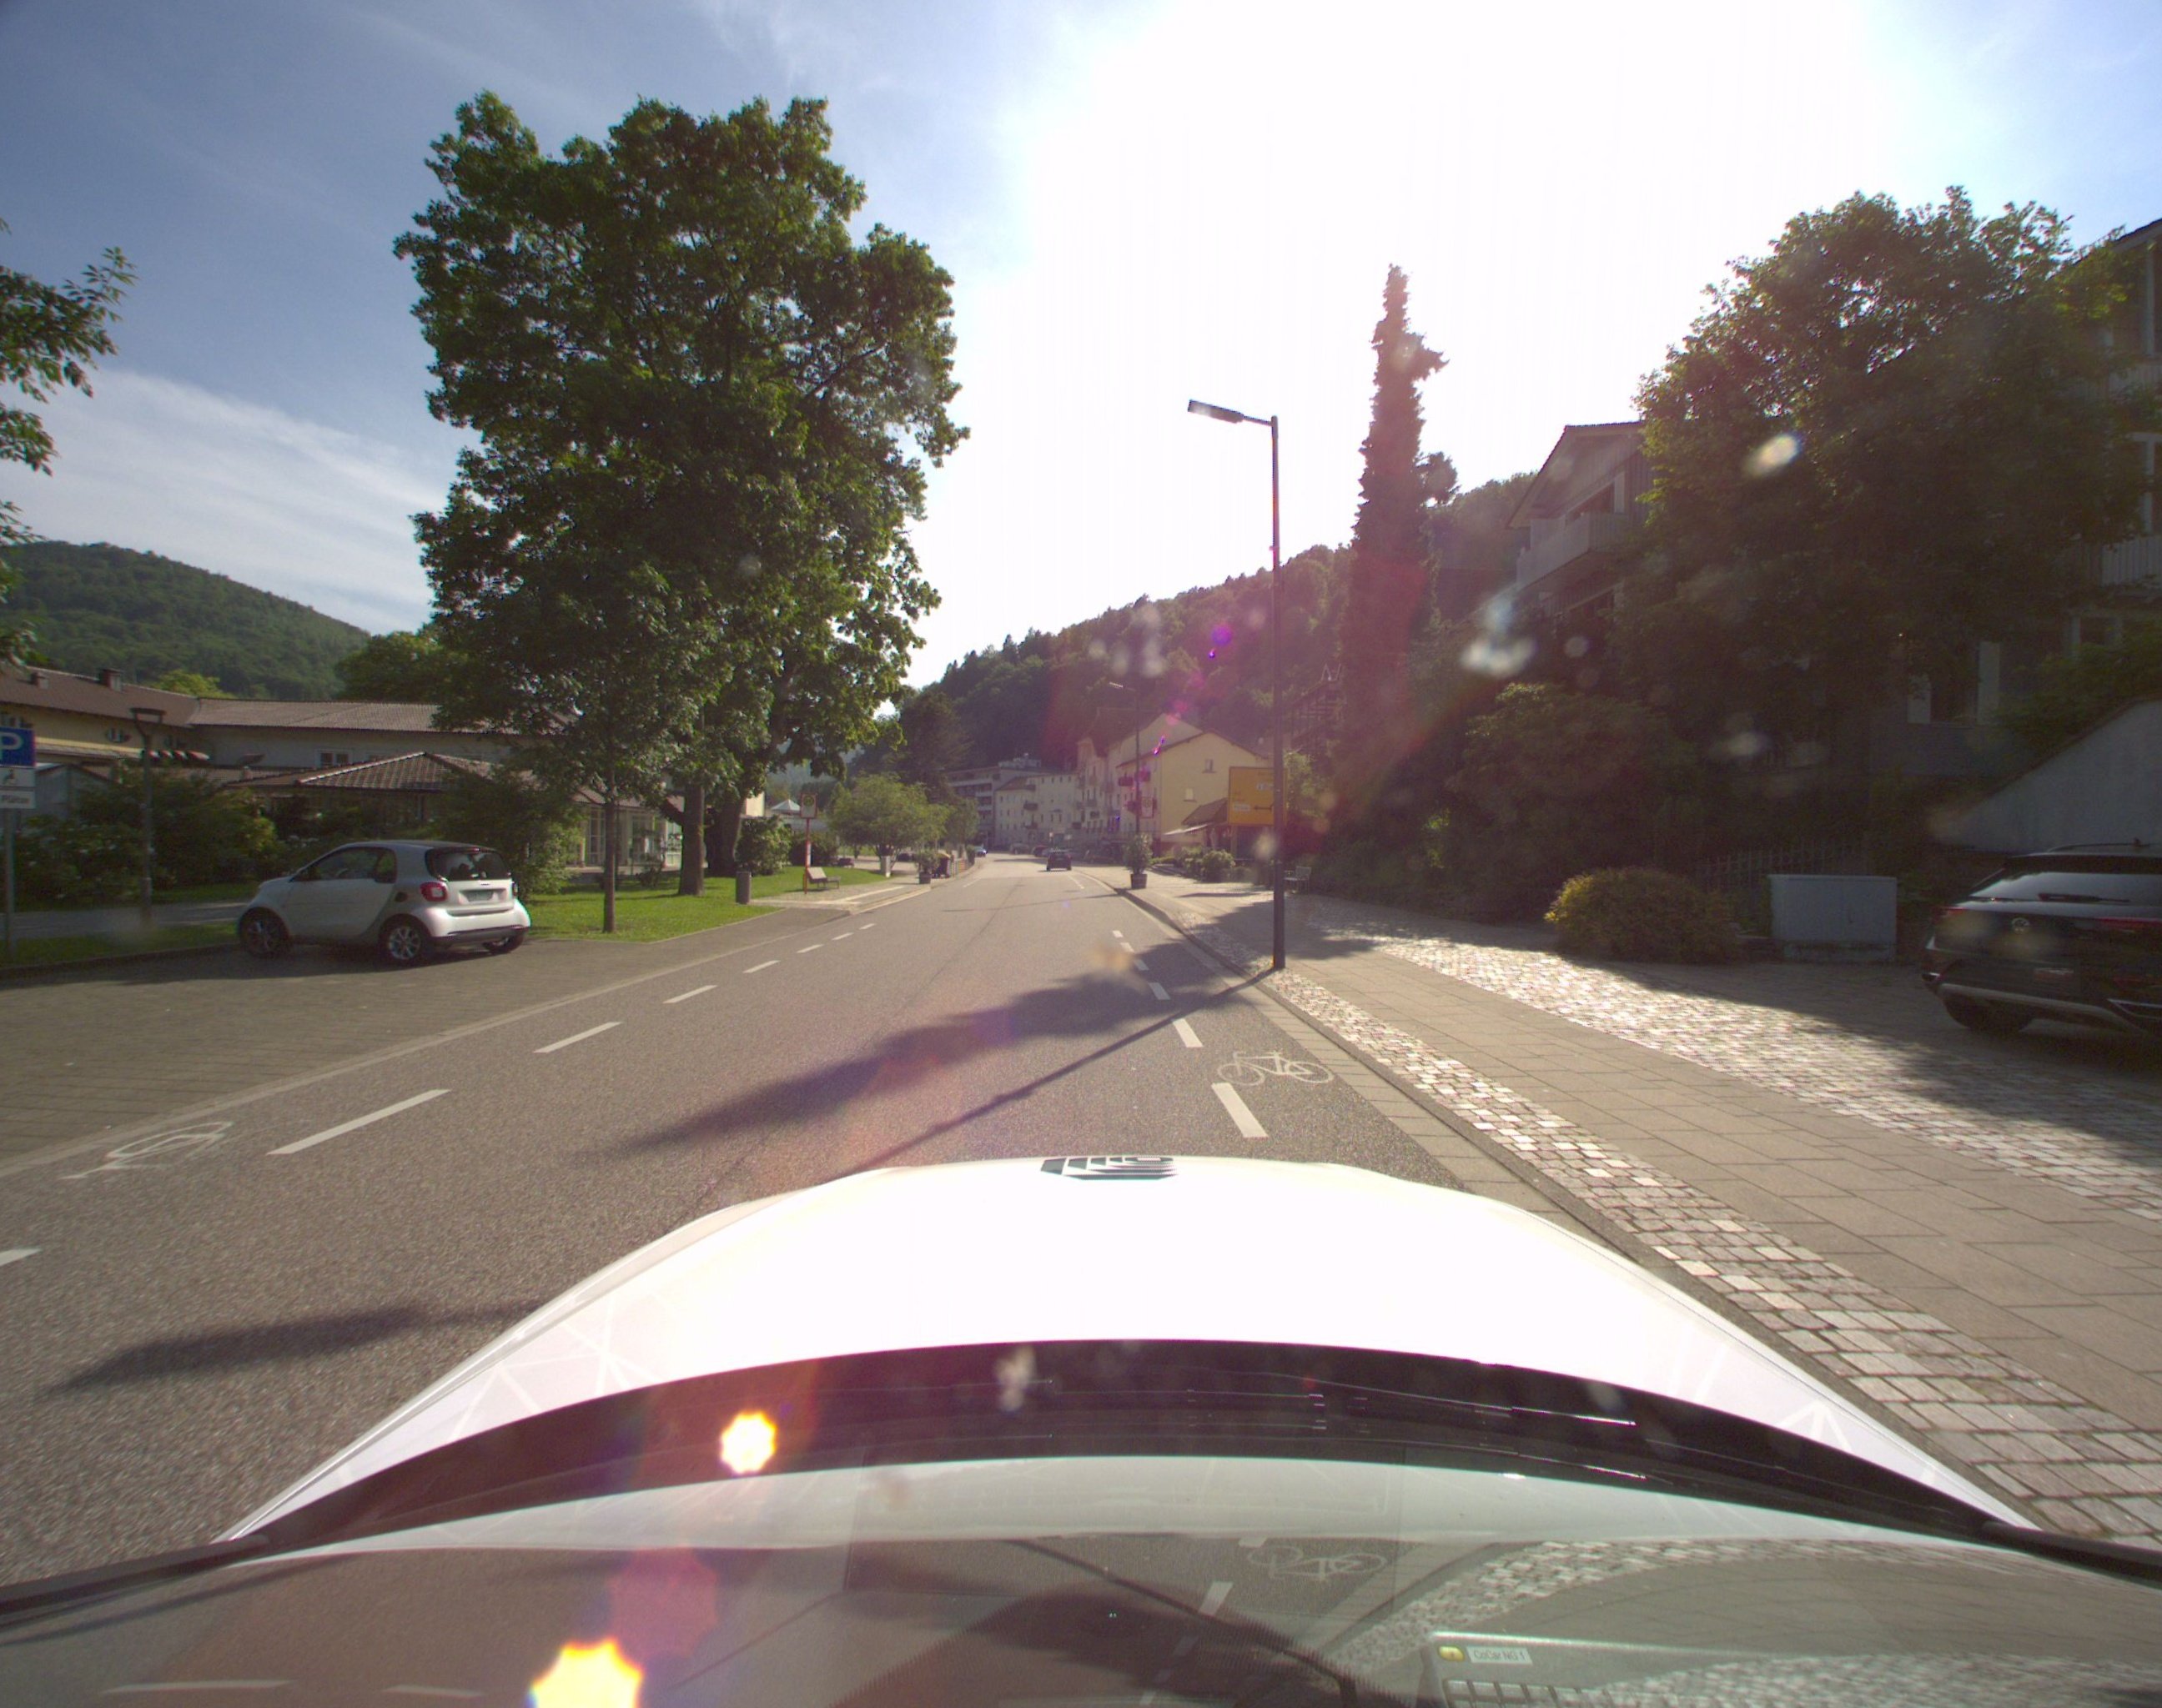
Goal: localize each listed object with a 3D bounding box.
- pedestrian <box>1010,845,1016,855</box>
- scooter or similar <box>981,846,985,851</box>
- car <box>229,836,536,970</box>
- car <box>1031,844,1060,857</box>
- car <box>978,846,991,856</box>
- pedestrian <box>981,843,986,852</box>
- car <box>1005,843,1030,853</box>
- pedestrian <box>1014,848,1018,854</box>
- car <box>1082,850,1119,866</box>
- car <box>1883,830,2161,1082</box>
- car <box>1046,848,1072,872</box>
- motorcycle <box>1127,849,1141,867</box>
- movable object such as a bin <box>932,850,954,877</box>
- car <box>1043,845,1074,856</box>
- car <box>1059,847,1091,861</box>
[{"bbox_3d":[-10.961,-0.645,131.768,0.740,1.442,0.626,-2,2,-36],"label":"pedestrian"},{"bbox_3d":[-17.857,-0.968,148.592,0.600,0.950,0.469,1,1,-34],"label":"scooter or similar"},{"bbox_3d":[-9.238,0.602,10.933,2.638,1.547,1.684,2,0,5],"label":"car"},{"bbox_3d":[-5.409,-0.551,124.358,4.085,1.666,1.766,4,0,-11],"label":"car"},{"bbox_3d":[-13.894,-0.456,117.766,1.738,1.462,4.179,-1,1,-5],"label":"car"},{"bbox_3d":[-17.783,-1.259,148.493,0.762,1.593,0.621,1,0,-34],"label":"pedestrian"},{"bbox_3d":[-11.092,-1.035,141.785,3.887,1.612,1.755,-3,3,-32],"label":"car"},{"bbox_3d":[-10.553,-0.452,132.163,0.420,1.002,0.525,-2,2,-36],"label":"pedestrian"},{"bbox_3d":[2.260,0.470,94.433,3.864,1.554,1.752,3,0,-14],"label":"car"},{"bbox_3d":[8.682,0.631,5.998,3.862,1.580,1.748,0,0,0],"label":"car"},{"bbox_3d":[-1.697,0.413,61.014,1.724,1.574,3.747,2,2,-5],"label":"car"},{"bbox_3d":[3.920,0.306,60.020,0.696,1.296,2.208,-2,1,-5],"label":"motorcycle"},{"bbox_3d":[-7.912,0.536,46.822,1.076,1.427,1.375,2,0,-4],"label":"movable object such as a bin"},{"bbox_3d":[-3.314,-0.556,119.677,4.355,1.461,1.767,2,-1,-9],"label":"car"},{"bbox_3d":[-0.814,0.047,108.043,3.911,1.589,1.768,3,1,-11],"label":"car"}]
